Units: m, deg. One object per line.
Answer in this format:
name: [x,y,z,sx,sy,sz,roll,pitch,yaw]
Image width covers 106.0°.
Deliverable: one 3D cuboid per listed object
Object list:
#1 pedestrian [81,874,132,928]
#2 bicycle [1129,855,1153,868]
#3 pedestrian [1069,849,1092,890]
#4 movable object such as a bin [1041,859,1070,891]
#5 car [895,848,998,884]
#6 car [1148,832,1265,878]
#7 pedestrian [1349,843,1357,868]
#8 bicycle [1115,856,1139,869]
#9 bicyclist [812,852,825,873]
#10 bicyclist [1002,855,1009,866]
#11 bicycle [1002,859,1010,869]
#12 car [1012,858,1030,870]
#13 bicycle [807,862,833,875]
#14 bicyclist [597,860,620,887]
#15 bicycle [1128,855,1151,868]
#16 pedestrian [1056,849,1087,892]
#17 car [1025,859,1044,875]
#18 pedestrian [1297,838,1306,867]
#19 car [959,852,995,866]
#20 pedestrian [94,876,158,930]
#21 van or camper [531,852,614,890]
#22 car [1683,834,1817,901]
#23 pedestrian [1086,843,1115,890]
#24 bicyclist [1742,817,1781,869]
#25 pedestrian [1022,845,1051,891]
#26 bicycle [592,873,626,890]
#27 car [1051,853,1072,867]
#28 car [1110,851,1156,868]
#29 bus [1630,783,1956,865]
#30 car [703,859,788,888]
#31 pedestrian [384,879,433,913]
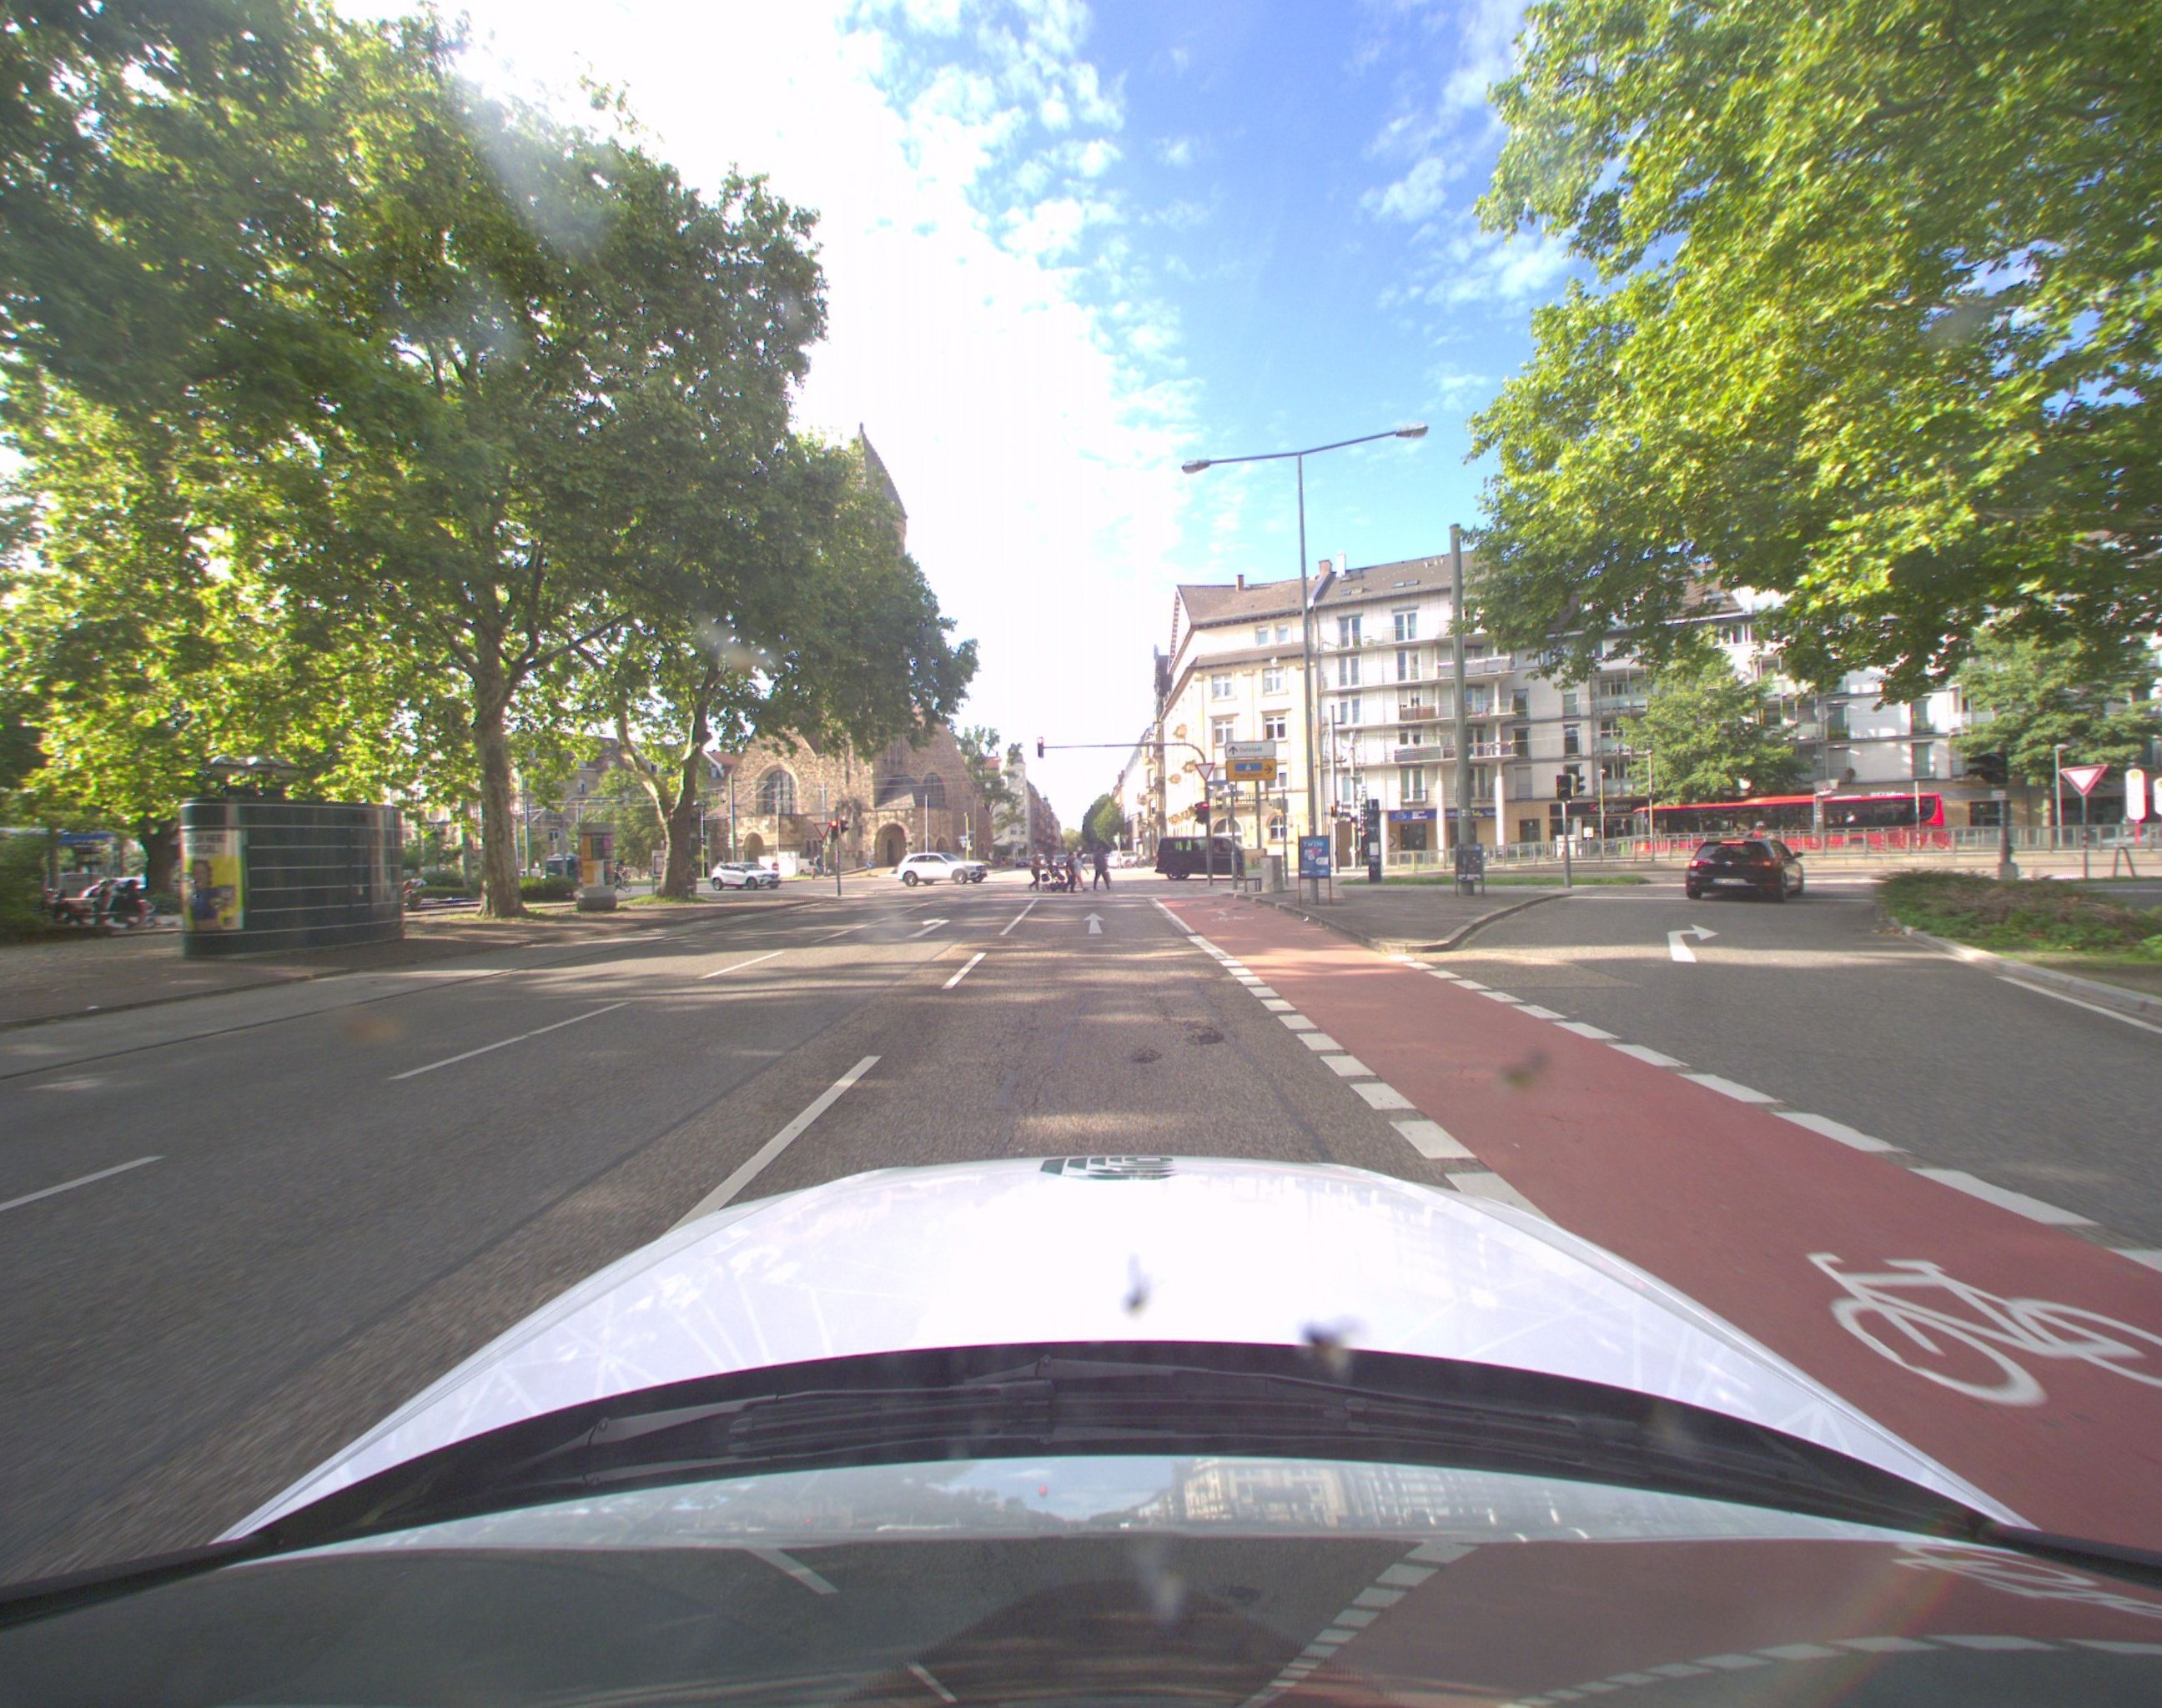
pedestrian: [-24.656,1.174,20.603,0.808,1.288,0.728,1,0,33]
bicycle: [5.393,0.677,73.221,2.022,1.082,0.618,-2,0,-10]
pedestrian: [-0.023,0.533,28.913,0.649,1.432,0.501,-2,0,23]
movable object such as a bin: [-0.930,0.764,29.675,0.830,1.123,0.578,-2,0,24]
car: [-6.792,0.610,41.240,4.666,1.683,2.027,-2,0,20]
car: [5.622,0.036,36.431,4.803,1.871,2.042,-2,0,20]
pedestrian: [18.838,0.118,56.428,0.491,1.714,0.530,1,0,25]
bicycle: [4.149,0.769,73.189,2.022,1.082,0.618,-2,0,-10]
bicyclist: [-21.160,0.718,65.711,0.716,1.662,0.724,-2,0,42]
bicyclist: [-9.151,0.791,98.764,0.681,1.367,0.780,-2,0,0]
bicycle: [-9.141,1.222,98.933,0.688,1.181,1.919,-2,0,1]
car: [-8.025,1.270,109.074,1.987,1.497,4.000,-2,0,0]
bicycle: [-21.098,1.186,65.956,0.630,0.980,1.937,-1,0,41]
bicyclist: [-27.163,1.141,46.848,0.874,1.503,0.719,-2,0,19]
bicycle: [5.292,0.674,73.893,2.022,1.082,0.629,-2,0,-10]
pedestrian: [-0.327,0.574,28.348,0.774,1.432,0.735,-2,0,23]
car: [-5.413,1.480,95.234,1.942,1.750,4.000,-2,0,0]
pedestrian: [15.793,-0.128,58.378,0.520,2.093,0.500,1,0,26]
car: [-12.758,0.630,99.822,4.020,1.596,1.848,-2,0,-38]
pedestrian: [-23.711,1.207,20.236,0.724,1.288,0.812,1,0,-25]
van or camper: [-35.286,1.177,56.497,5.403,2.434,2.197,-2,0,25]
car: [15.789,0.266,19.167,4.021,1.413,1.737,-1,0,-40]
pedestrian: [0.707,0.429,29.434,0.774,1.662,0.783,-2,0,23]
bicyclist: [21.313,-0.335,25.506,0.771,1.579,0.629,-2,0,26]
pedestrian: [-1.635,0.512,29.969,0.807,1.629,0.608,-2,0,25]
bicycle: [-27.141,1.586,46.836,1.707,0.876,0.709,-2,0,19]
car: [-1.955,0.577,83.393,1.942,1.372,4.000,-2,0,0]
car: [4.805,0.511,75.573,3.978,1.420,1.998,-2,0,-3]
bus: [35.673,-1.397,41.657,12.152,3.548,3.046,-2,0,24]
car: [-19.040,1.105,46.207,4.212,1.479,1.908,-2,0,20]
pedestrian: [-21.134,1.309,25.594,0.750,0.979,1.047,-1,0,41]
